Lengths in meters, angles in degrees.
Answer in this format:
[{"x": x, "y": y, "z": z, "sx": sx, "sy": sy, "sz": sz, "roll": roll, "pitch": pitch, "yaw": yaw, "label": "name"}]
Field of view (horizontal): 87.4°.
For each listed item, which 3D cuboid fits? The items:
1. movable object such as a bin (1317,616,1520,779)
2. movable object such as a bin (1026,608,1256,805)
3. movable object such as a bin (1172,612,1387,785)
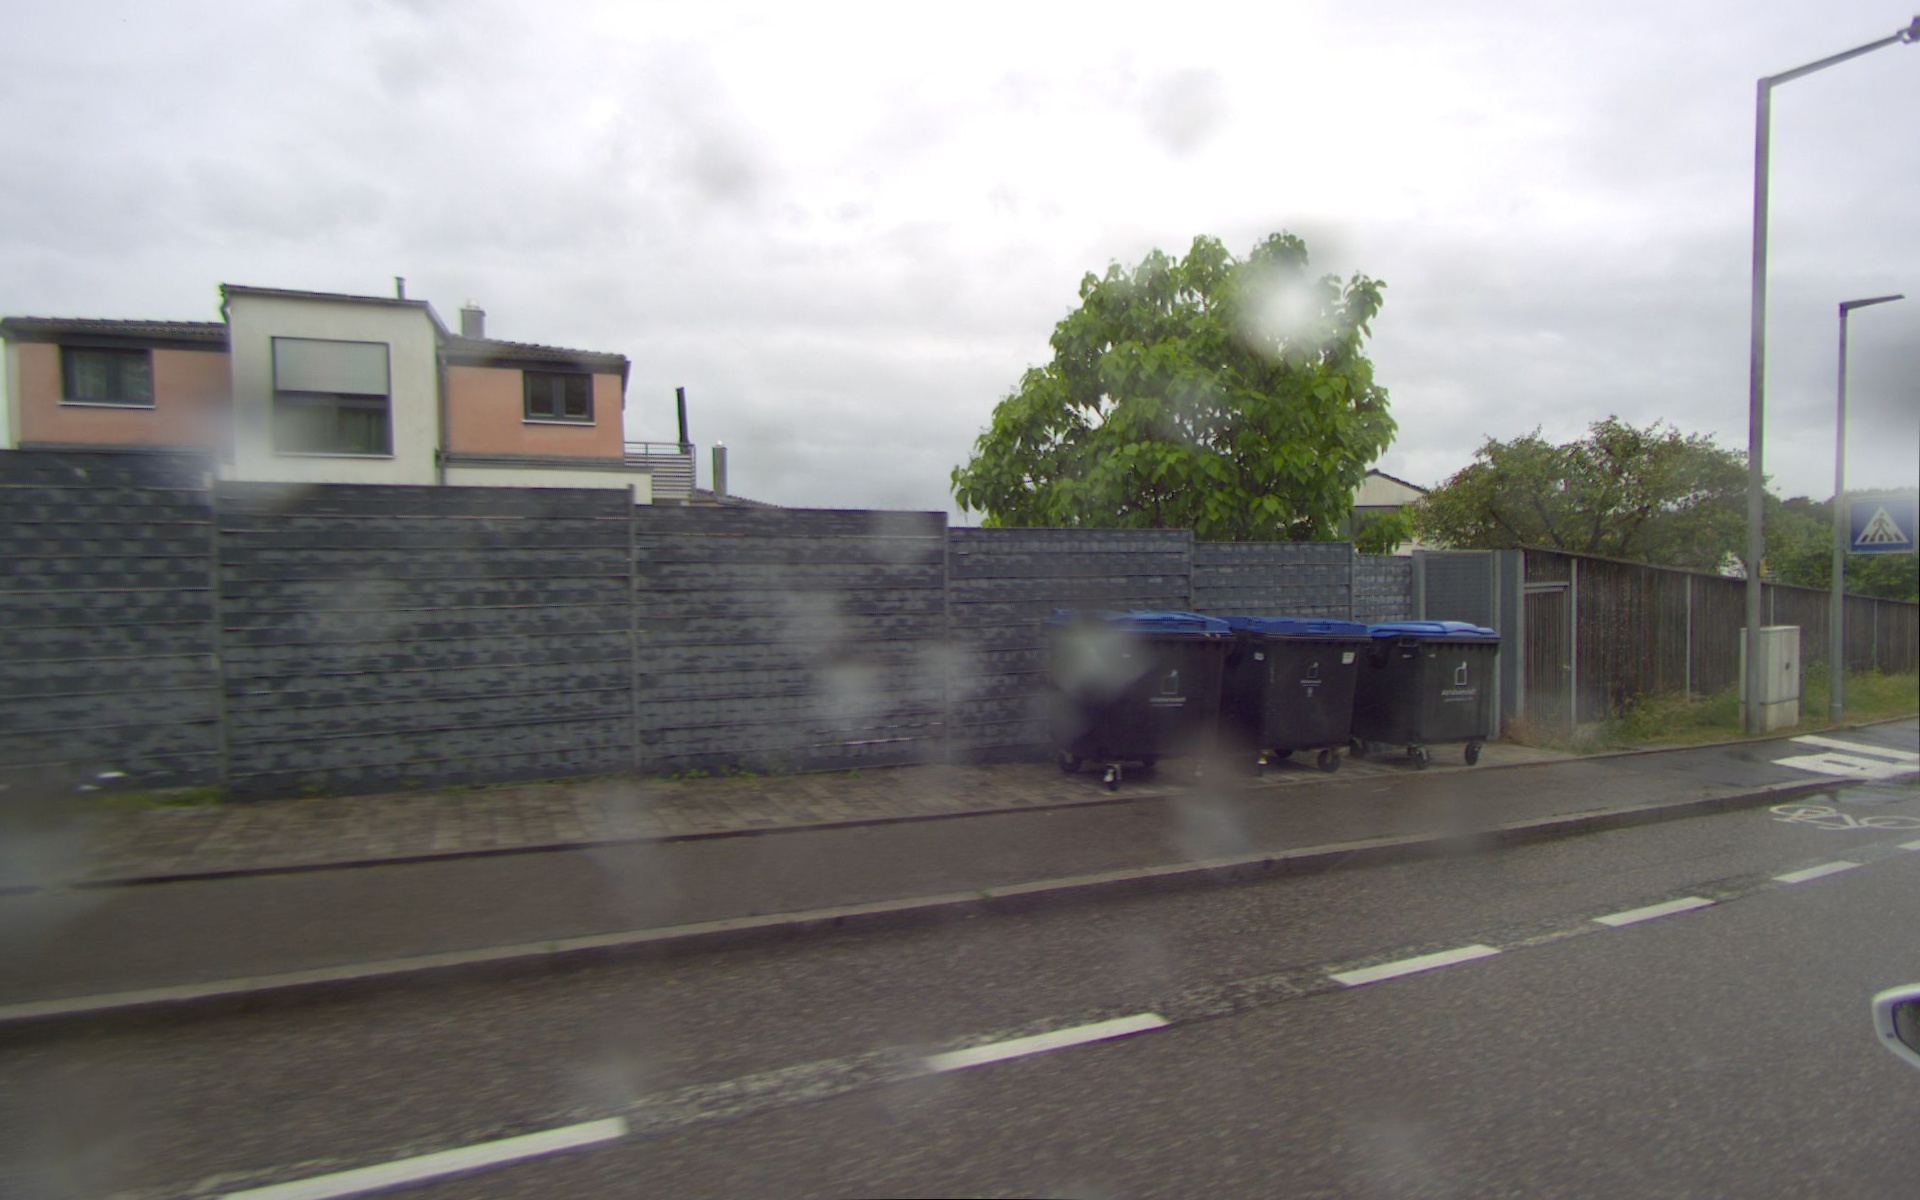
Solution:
[{"x": 4.358, "y": 0.869, "z": 9.594, "sx": 1.346, "sy": 1.340, "sz": 1.126, "roll": 1, "pitch": 4, "yaw": -29, "label": "movable object such as a bin"}, {"x": 1.431, "y": 0.779, "z": 8.049, "sx": 1.381, "sy": 1.357, "sz": 1.126, "roll": 1, "pitch": 3, "yaw": -29, "label": "movable object such as a bin"}, {"x": 2.798, "y": 0.802, "z": 8.869, "sx": 1.381, "sy": 1.319, "sz": 1.126, "roll": 1, "pitch": 3, "yaw": -29, "label": "movable object such as a bin"}]
